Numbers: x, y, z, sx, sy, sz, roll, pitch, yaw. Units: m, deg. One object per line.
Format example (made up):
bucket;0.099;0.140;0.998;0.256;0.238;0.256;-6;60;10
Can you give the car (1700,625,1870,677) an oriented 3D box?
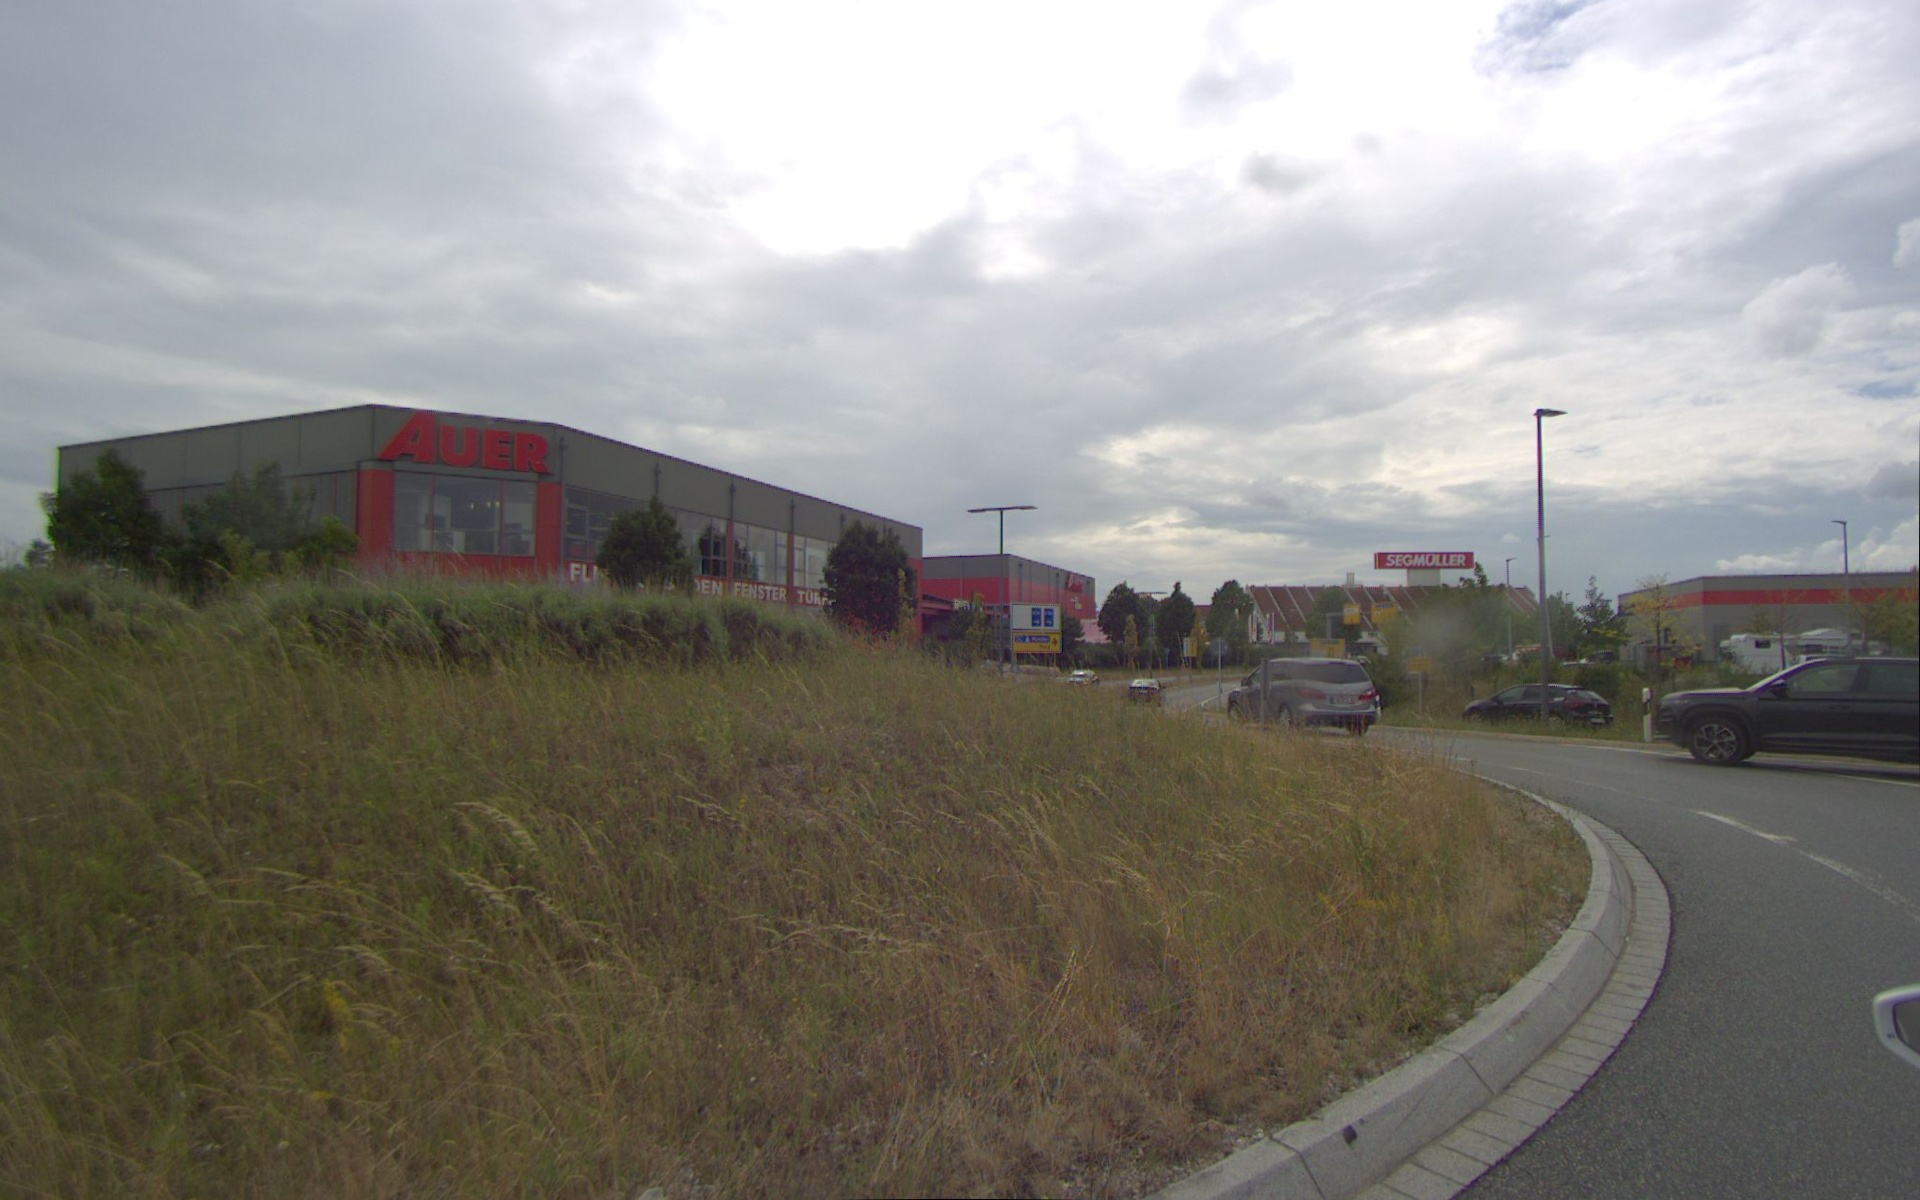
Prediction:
car;49.530;3.011;60.562;7.538;2.857;2.471;0;-1;20

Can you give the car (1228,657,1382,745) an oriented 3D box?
car;7.369;2.101;21.883;1.710;1.619;3.996;-1;-2;-4

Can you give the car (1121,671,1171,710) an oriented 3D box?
car;9.313;4.469;50.078;1.743;1.639;3.999;0;-1;21

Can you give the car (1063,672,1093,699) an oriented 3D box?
car;7.896;5.683;66.984;1.568;1.458;4.002;0;-1;13

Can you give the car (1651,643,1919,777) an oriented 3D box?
car;12.997;1.547;14.580;1.988;1.782;4.620;5;-5;-45

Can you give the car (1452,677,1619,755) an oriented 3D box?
car;16.247;3.212;28.560;1.632;1.773;3.979;1;-1;-22
